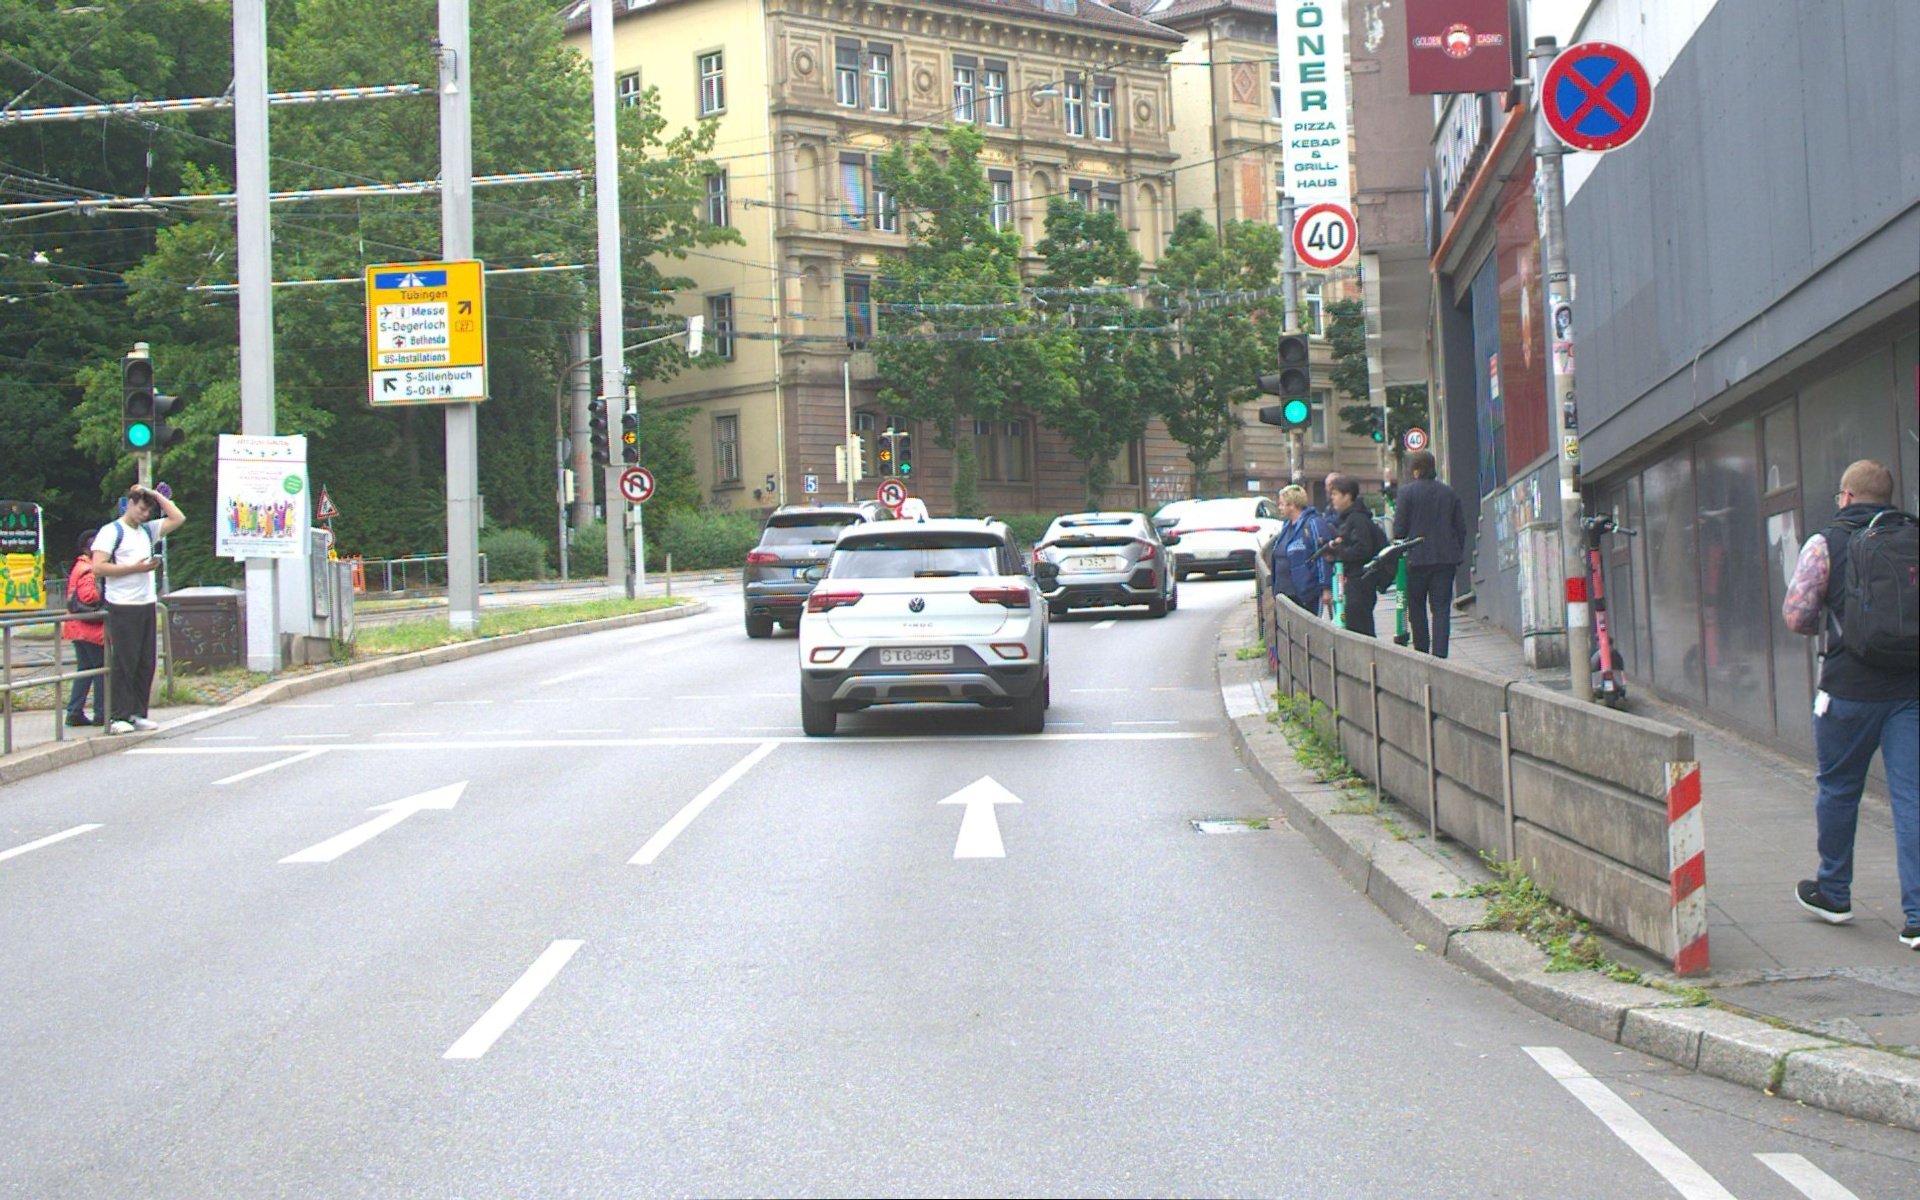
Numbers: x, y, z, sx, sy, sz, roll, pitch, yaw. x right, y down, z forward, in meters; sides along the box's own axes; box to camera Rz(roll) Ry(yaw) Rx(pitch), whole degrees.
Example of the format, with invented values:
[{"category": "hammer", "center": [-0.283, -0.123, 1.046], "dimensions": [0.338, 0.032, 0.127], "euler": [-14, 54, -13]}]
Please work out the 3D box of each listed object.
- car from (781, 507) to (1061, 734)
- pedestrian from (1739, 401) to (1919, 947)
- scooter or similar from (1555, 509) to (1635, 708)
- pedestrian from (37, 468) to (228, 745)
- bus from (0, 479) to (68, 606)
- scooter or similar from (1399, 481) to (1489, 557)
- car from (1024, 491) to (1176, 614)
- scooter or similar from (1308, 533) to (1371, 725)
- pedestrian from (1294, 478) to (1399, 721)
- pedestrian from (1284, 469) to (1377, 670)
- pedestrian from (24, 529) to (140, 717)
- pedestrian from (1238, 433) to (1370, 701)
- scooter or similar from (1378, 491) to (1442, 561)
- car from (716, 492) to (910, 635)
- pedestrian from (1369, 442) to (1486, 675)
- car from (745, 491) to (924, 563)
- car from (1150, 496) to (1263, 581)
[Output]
[{"category": "car", "center": [-0.271, 0.099, 26.091], "dimensions": [1.938, 1.561, 4.046], "euler": [1, 1, 0]}, {"category": "pedestrian", "center": [3.113, 0.232, 11.673], "dimensions": [0.720, 1.779, 0.883], "euler": [-1, 1, 0]}, {"category": "scooter or similar", "center": [4.238, 0.045, 22.918], "dimensions": [0.428, 1.271, 0.980], "euler": [-2, 2, 14]}, {"category": "pedestrian", "center": [-6.435, 0.063, 26.769], "dimensions": [0.966, 2.060, 1.031], "euler": [-4, -3, 19]}, {"category": "bus", "center": [-28.092, -1.187, 84.674], "dimensions": [11.517, 3.018, 3.388], "euler": [-2, 2, 14]}, {"category": "scooter or similar", "center": [8.673, -1.452, 61.582], "dimensions": [1.441, 1.250, 0.557], "euler": [-5, 2, -23]}, {"category": "car", "center": [1.933, -0.652, 46.417], "dimensions": [1.903, 1.568, 3.834], "euler": [-1, 1, 4]}, {"category": "scooter or similar", "center": [2.570, 0.188, 23.327], "dimensions": [0.354, 1.271, 0.813], "euler": [-1, 1, 2]}, {"category": "pedestrian", "center": [2.892, -0.010, 25.768], "dimensions": [0.738, 1.787, 0.655], "euler": [-1, 1, 4]}, {"category": "pedestrian", "center": [3.188, -0.268, 29.616], "dimensions": [0.562, 1.646, 0.591], "euler": [-8, 1, 4]}, {"category": "pedestrian", "center": [-7.062, 0.193, 27.660], "dimensions": [0.577, 1.459, 0.675], "euler": [-4, -3, 19]}, {"category": "pedestrian", "center": [2.717, -0.264, 27.221], "dimensions": [0.946, 2.055, 0.778], "euler": [-2, 1, 4]}, {"category": "scooter or similar", "center": [7.877, -1.294, 60.190], "dimensions": [1.007, 1.178, 0.377], "euler": [-3, 1, -23]}, {"category": "car", "center": [-1.833, -0.503, 44.105], "dimensions": [1.840, 1.733, 3.999], "euler": [-1, 2, 7]}, {"category": "pedestrian", "center": [3.774, -0.338, 27.815], "dimensions": [0.727, 1.802, 0.654], "euler": [-6, 1, 4]}, {"category": "car", "center": [-3.414, -1.976, 94.363], "dimensions": [1.998, 1.843, 4.981], "euler": [-2, -1, 41]}, {"category": "car", "center": [4.562, -1.158, 64.047], "dimensions": [1.938, 1.501, 3.806], "euler": [-1, 1, 2]}]
